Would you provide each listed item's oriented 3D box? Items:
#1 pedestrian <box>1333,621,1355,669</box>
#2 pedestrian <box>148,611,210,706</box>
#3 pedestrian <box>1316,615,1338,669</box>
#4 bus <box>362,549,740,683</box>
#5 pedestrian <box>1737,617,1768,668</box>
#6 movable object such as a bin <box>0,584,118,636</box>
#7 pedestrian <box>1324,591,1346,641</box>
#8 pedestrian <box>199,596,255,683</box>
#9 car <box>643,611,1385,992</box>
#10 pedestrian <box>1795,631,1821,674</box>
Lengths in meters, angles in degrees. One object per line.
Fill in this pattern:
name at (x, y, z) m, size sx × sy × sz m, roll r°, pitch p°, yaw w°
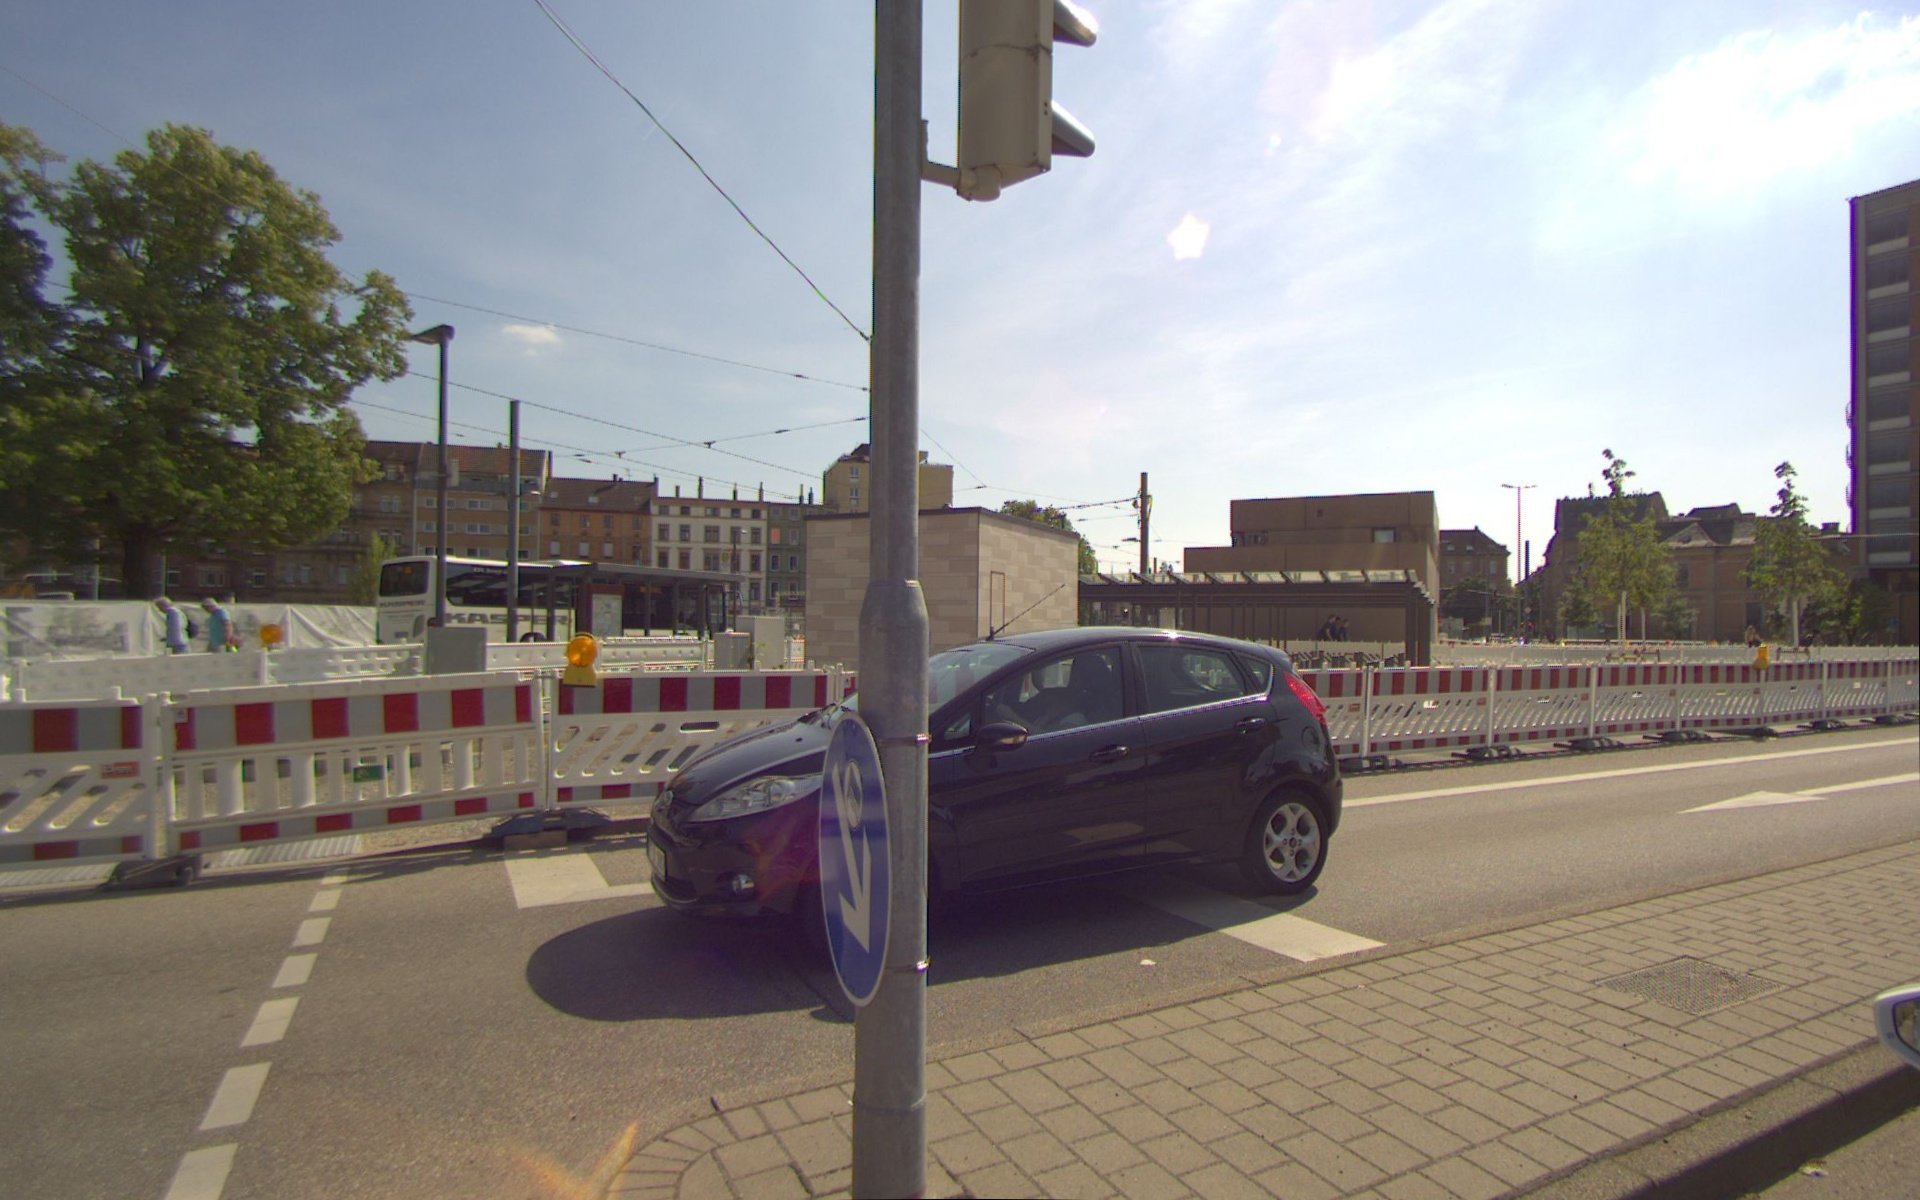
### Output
pedestrian at (13.956, 1.628, 36.547) m, size 0.559 × 1.731 × 0.540 m, roll 1°, pitch -2°, yaw -7°
pedestrian at (-13.792, 1.015, 17.746) m, size 0.788 × 1.637 × 0.653 m, roll 1°, pitch -1°, yaw -44°
pedestrian at (13.144, 1.498, 35.980) m, size 0.594 × 1.940 × 0.441 m, roll 1°, pitch -2°, yaw -7°
bus at (-12.339, 0.611, 32.658) m, size 2.809 × 3.535 × 12.645 m, roll -1°, pitch -2°, yaw 27°
pedestrian at (28.303, 1.532, 35.877) m, size 1.104 × 1.775 × 0.729 m, roll 5°, pitch -4°, yaw -44°
movable object such as a bin at (-56.492, 0.665, 62.034) m, size 6.484 × 3.049 × 2.560 m, roll 2°, pitch -2°, yaw -33°
pedestrian at (13.902, 0.599, 37.255) m, size 0.559 × 1.801 × 0.544 m, roll 1°, pitch -2°, yaw -7°
pedestrian at (-14.068, 0.739, 19.282) m, size 0.676 × 1.637 × 0.586 m, roll 0°, pitch -1°, yaw 20°
car at (0.349, 0.850, 5.524) m, size 3.770 × 1.470 × 1.660 m, roll 1°, pitch -3°, yaw -28°
pedestrian at (30.110, 1.863, 35.676) m, size 0.613 × 1.511 × 0.624 m, roll 2°, pitch -2°, yaw -44°
